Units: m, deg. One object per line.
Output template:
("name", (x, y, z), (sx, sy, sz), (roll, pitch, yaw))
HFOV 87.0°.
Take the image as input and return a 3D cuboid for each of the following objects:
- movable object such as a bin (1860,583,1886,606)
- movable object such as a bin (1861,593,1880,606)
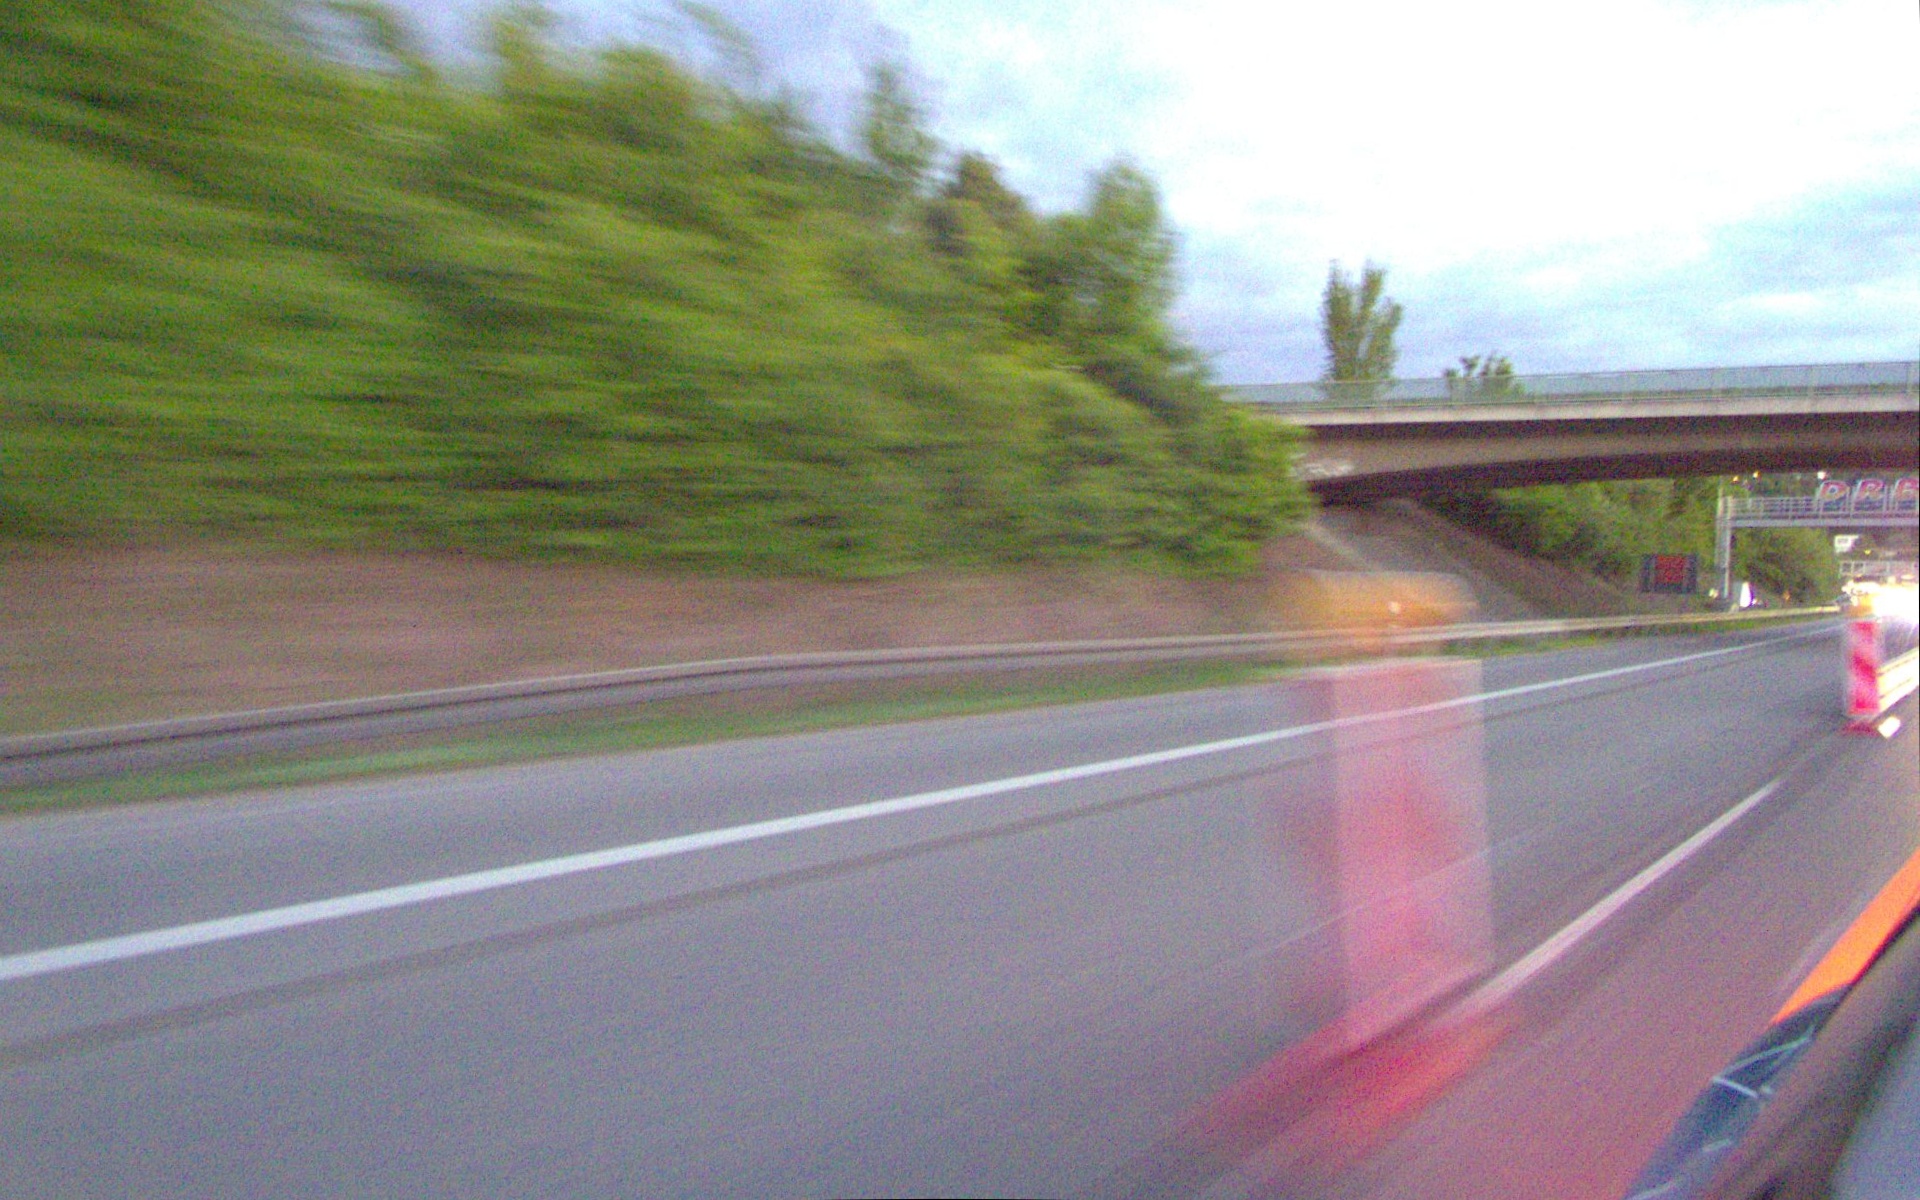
("movable object such as a bin", (127.969, -0.802, 141.936), (2.619, 3.146, 5.719), (2, 2, 42))
("movable object such as a bin", (131.112, -0.092, 145.679), (1.993, 1.621, 4.022), (3, 3, 43))
